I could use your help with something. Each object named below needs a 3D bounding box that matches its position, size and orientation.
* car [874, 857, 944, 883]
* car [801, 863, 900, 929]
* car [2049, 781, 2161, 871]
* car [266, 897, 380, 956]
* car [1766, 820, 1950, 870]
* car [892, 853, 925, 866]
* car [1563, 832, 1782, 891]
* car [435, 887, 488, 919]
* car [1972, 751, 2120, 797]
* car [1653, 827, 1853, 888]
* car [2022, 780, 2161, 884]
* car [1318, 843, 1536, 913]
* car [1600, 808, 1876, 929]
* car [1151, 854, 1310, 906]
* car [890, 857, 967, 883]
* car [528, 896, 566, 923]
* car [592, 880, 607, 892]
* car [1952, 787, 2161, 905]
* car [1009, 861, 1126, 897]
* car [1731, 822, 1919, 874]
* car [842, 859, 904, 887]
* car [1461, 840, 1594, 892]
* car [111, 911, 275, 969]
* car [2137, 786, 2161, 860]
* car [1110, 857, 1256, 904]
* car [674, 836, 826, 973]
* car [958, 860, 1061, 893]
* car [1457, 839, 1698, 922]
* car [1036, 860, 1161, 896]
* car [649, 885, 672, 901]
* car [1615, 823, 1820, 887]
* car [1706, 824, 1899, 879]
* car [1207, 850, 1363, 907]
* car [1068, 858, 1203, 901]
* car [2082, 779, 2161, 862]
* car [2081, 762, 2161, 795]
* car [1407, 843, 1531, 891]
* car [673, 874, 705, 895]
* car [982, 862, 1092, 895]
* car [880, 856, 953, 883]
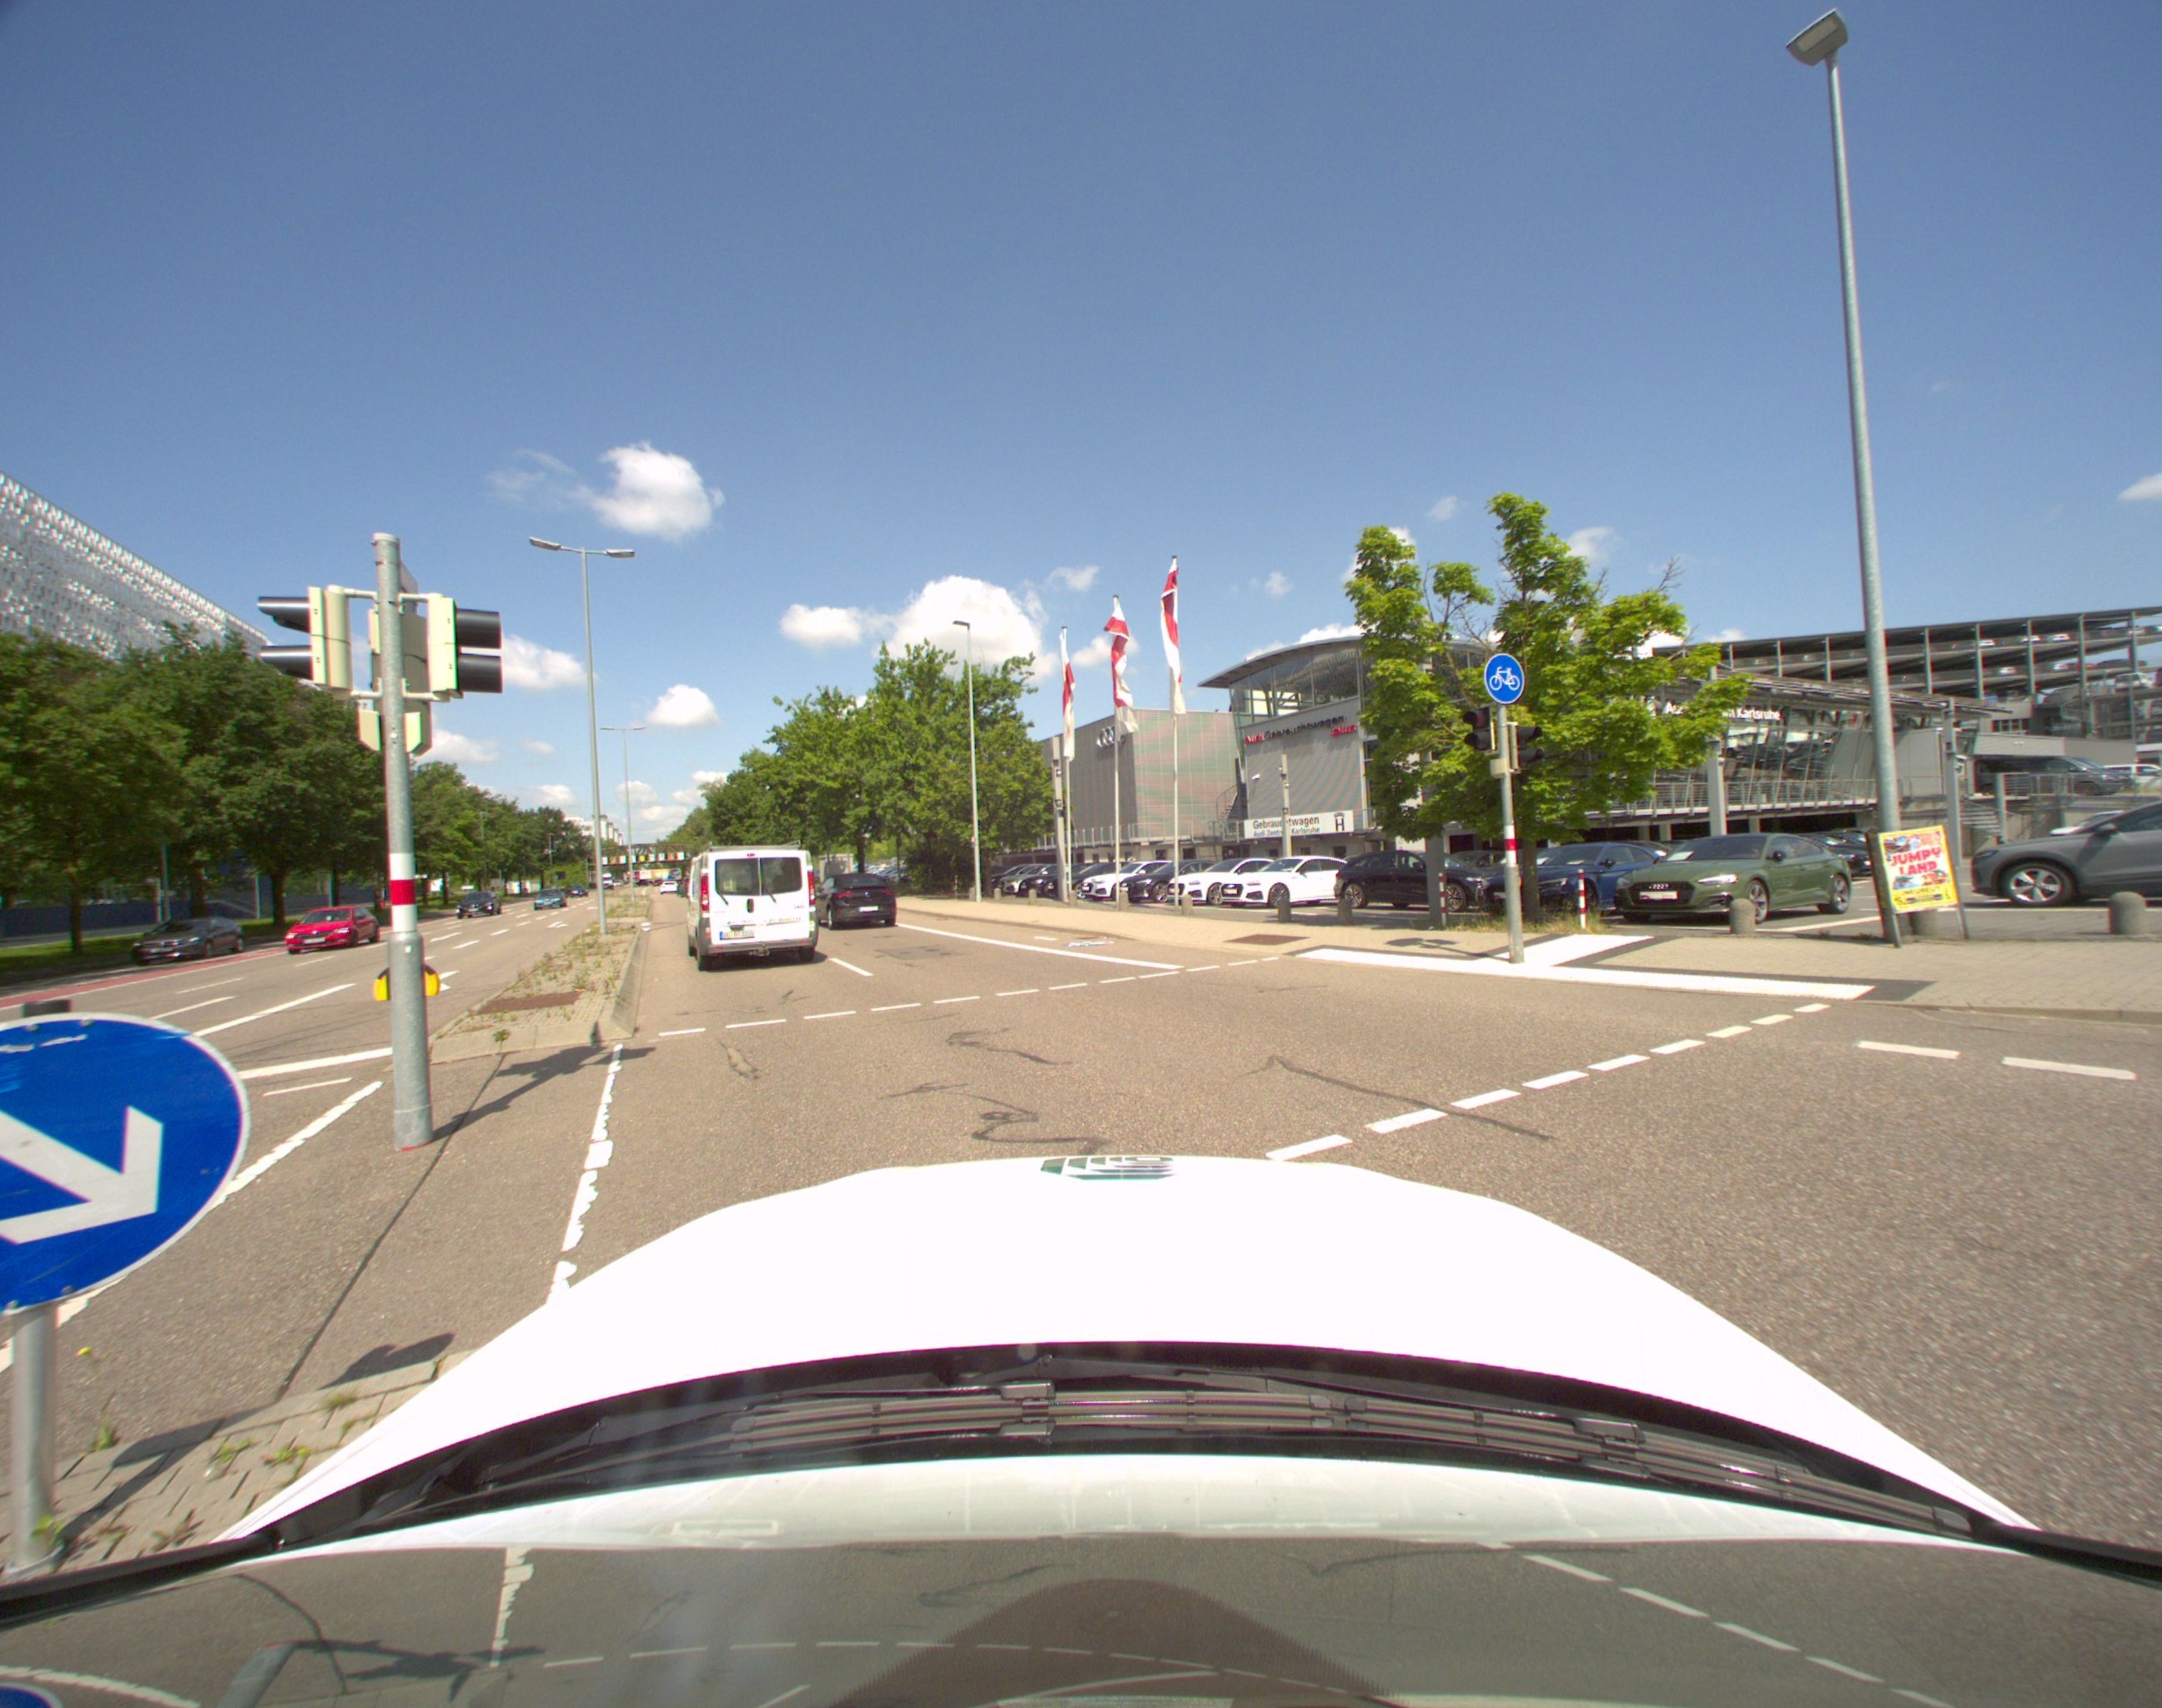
[{"bbox_3d":[-12.396,1.106,58.849,4.602,1.678,1.890,-2,1,-28],"label":"car"},{"bbox_3d":[-6.681,1.127,23.351,1.785,1.629,3.962,-2,1,-30],"label":"car"},{"bbox_3d":[21.309,-0.542,14.749,1.911,1.678,4.550,-2,1,-26],"label":"car"},{"bbox_3d":[-26.413,2.455,28.549,1.855,1.601,4.521,-2,1,-29],"label":"car"},{"bbox_3d":[28.492,-0.324,30.055,1.911,1.678,4.550,-2,1,-26],"label":"car"},{"bbox_3d":[-25.338,0.807,119.411,4.376,1.774,1.920,-2,1,-25],"label":"car"},{"bbox_3d":[16.807,0.273,23.438,1.990,1.511,4.712,1,-2,-28],"label":"car"},{"bbox_3d":[-40.057,3.136,52.770,1.940,1.755,4.775,-6,1,-29],"label":"car"},{"bbox_3d":[46.849,-3.828,39.648,1.770,1.801,4.415,-2,1,-29],"label":"car"},{"bbox_3d":[21.294,0.080,26.022,2.006,1.740,4.509,-2,1,-30],"label":"car"},{"bbox_3d":[18.598,-0.374,12.880,1.911,1.678,4.550,-2,1,-26],"label":"car"},{"bbox_3d":[8.069,0.563,19.499,1.800,1.464,4.712,1,-2,-28],"label":"car"},{"bbox_3d":[10.783,0.138,13.307,4.602,1.678,1.890,-2,1,-28],"label":"car"},{"bbox_3d":[4.596,0.734,24.820,4.602,1.297,1.890,-2,1,-28],"label":"car"},{"bbox_3d":[-10.151,1.058,54.235,4.602,1.498,1.889,-3,0,-29],"label":"car"},{"bbox_3d":[-37.954,3.907,57.971,1.784,1.548,4.775,-6,1,-29],"label":"car"},{"bbox_3d":[-77.266,5.185,130.740,1.940,1.755,4.775,-2,0,-29],"label":"car"},{"bbox_3d":[16.464,-0.158,11.982,1.911,1.678,4.549,-2,-3,-26],"label":"car"},{"bbox_3d":[-0.546,1.010,34.393,4.601,1.384,1.890,0,0,-29],"label":"car"},{"bbox_3d":[26.209,-0.223,28.874,1.911,1.678,4.550,-2,1,-26],"label":"car"},{"bbox_3d":[-17.219,1.553,67.450,4.602,2.049,1.890,-2,1,-28],"label":"car"},{"bbox_3d":[15.345,0.379,27.936,4.372,1.498,1.889,-3,0,-28],"label":"car"},{"bbox_3d":[-32.179,3.059,29.731,1.895,1.555,4.560,-3,0,-17],"label":"car"},{"bbox_3d":[26.132,-0.713,17.108,1.911,1.678,4.550,-2,1,-26],"label":"car"},{"bbox_3d":[3.431,0.832,27.248,4.602,1.297,1.890,-2,1,-28],"label":"car"},{"bbox_3d":[-6.241,0.794,15.016,1.985,2.059,4.521,-2,1,-29],"label":"car"},{"bbox_3d":[-3.422,1.041,39.226,4.601,1.405,1.890,-1,0,-29],"label":"car"},{"bbox_3d":[9.589,0.423,15.662,4.602,1.297,1.890,-2,1,-28],"label":"car"},{"bbox_3d":[0.701,0.956,32.223,4.601,1.297,1.890,2,-1,-28],"label":"car"},{"bbox_3d":[-44.694,4.104,86.509,1.867,1.442,3.961,-2,1,-31],"label":"car"},{"bbox_3d":[19.172,0.009,24.767,2.006,1.740,4.510,-2,1,-30],"label":"car"},{"bbox_3d":[24.390,-0.112,27.734,1.911,1.678,4.550,-2,1,-26],"label":"car"},{"bbox_3d":[5.638,0.668,22.428,4.010,1.464,1.779,1,-2,-28],"label":"car"},{"bbox_3d":[2.002,0.879,29.655,4.602,1.297,1.890,-2,1,-28],"label":"car"},{"bbox_3d":[23.418,-0.707,15.928,1.911,1.678,4.550,-2,1,-26],"label":"car"},{"bbox_3d":[57.947,-4.152,44.566,1.772,1.552,3.957,-2,1,-35],"label":"car"},{"bbox_3d":[14.423,0.459,30.240,4.372,1.498,1.889,-3,0,-28],"label":"car"},{"bbox_3d":[-34.869,2.709,72.353,1.785,1.618,4.221,-2,1,-36],"label":"car"},{"bbox_3d":[-1.984,1.082,36.757,4.601,1.405,1.890,1,0,-29],"label":"car"},{"bbox_3d":[-11.417,1.054,56.654,4.602,1.678,1.890,-2,1,-28],"label":"car"}]
